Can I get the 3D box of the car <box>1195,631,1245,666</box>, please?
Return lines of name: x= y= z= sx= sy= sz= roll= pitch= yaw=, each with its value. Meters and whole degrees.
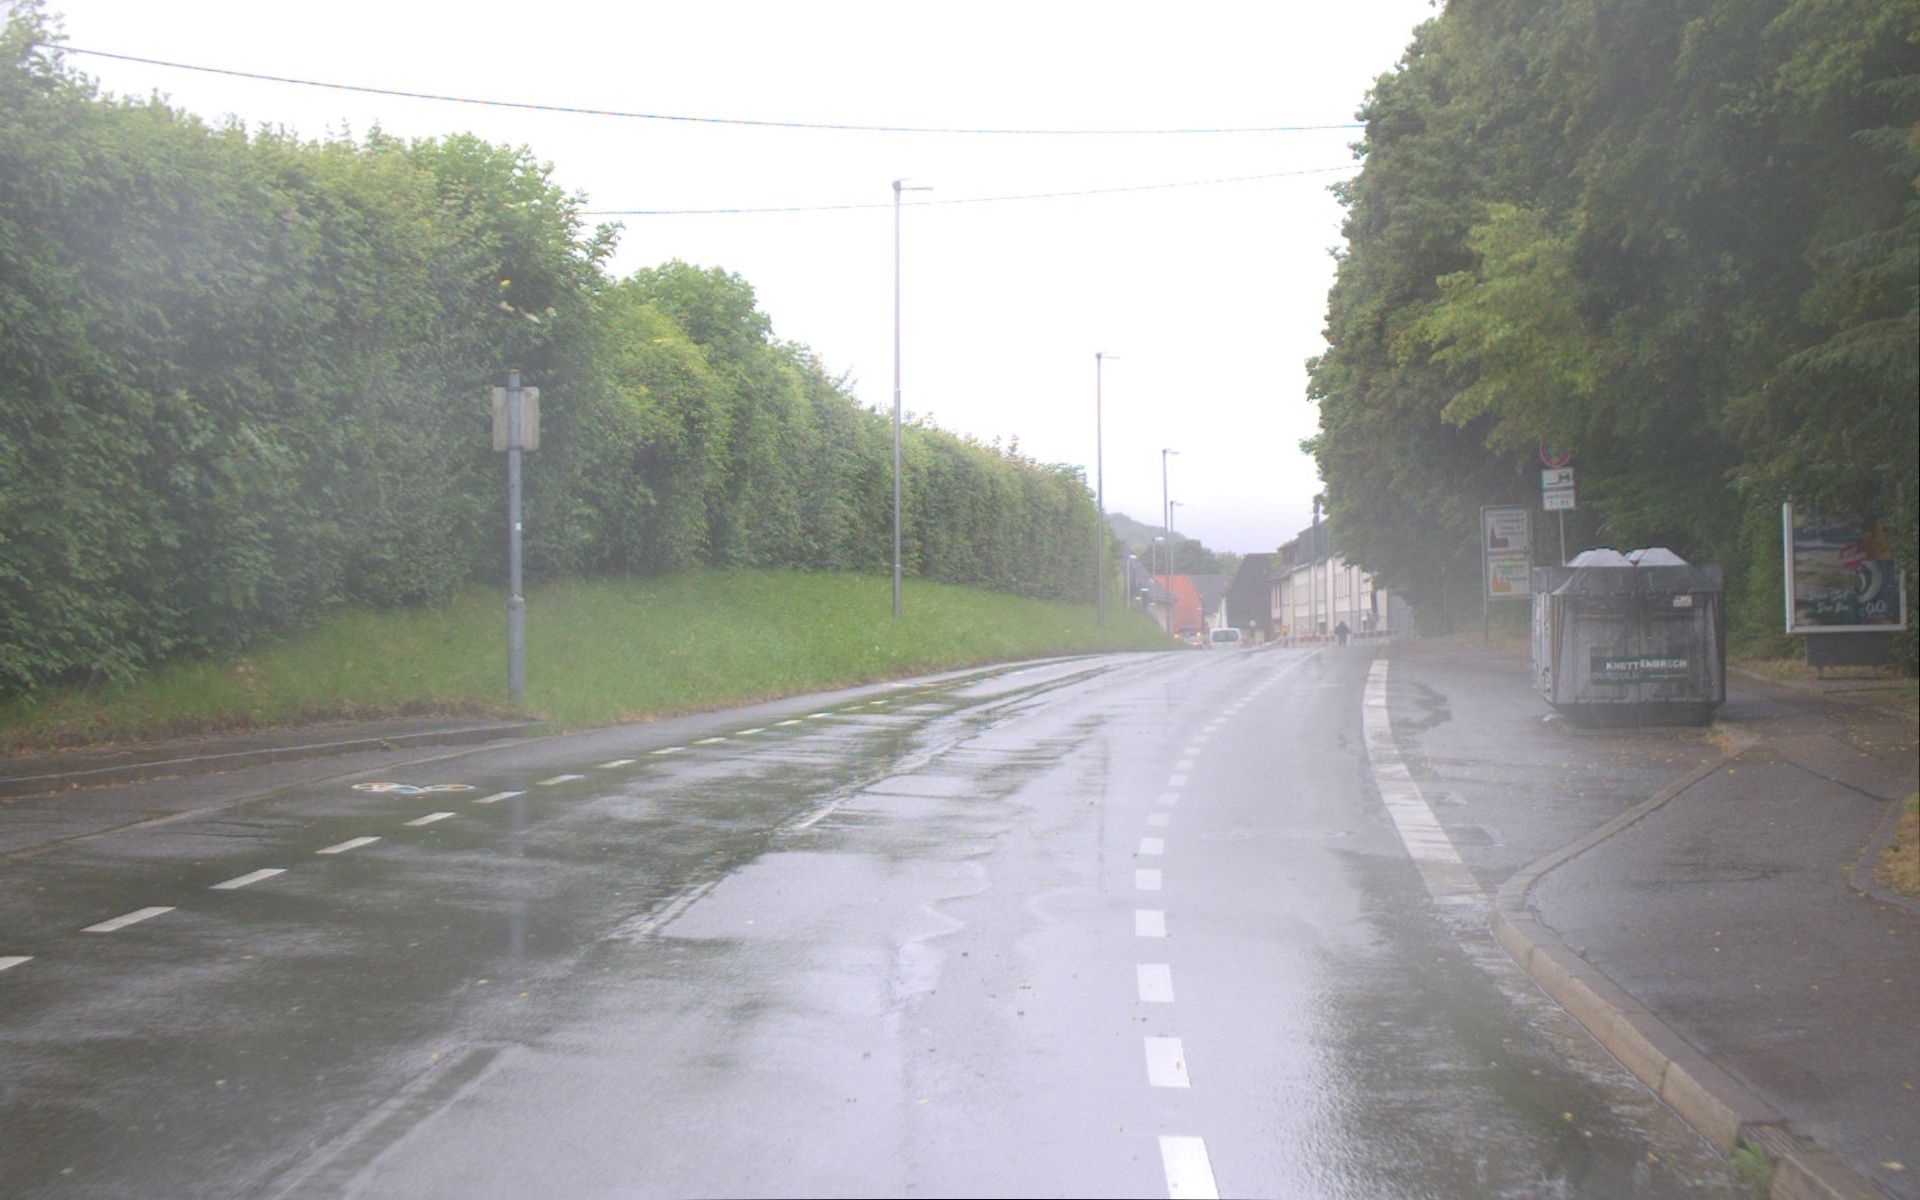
car: x=12.864 y=2.385 z=170.055 sx=1.993 sy=1.605 sz=4.000 roll=2 pitch=0 yaw=-2
